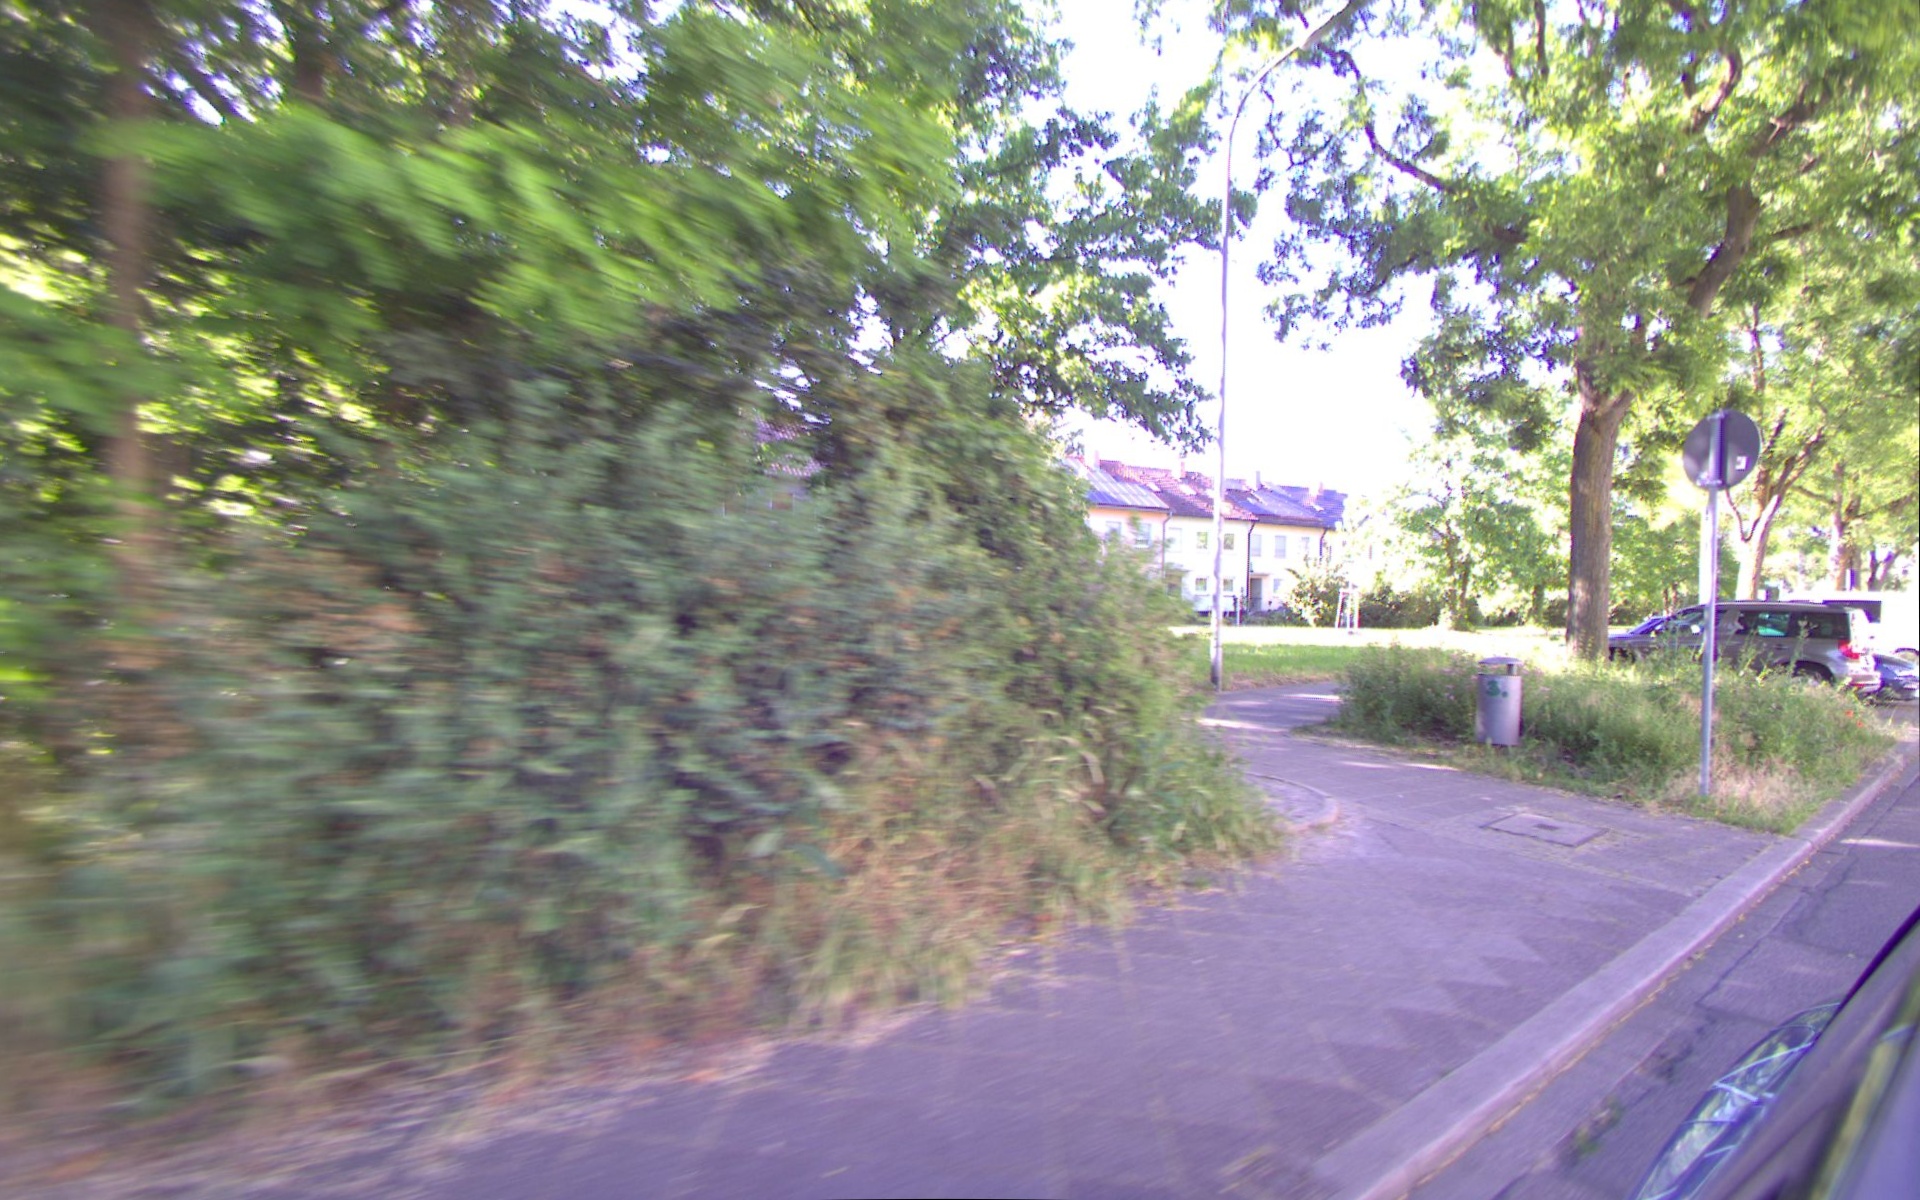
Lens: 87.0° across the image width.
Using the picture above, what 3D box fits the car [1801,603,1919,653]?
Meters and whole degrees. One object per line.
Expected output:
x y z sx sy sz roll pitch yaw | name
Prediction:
30.799 0.921 33.410 1.717 1.490 4.483 1 1 -44 | car

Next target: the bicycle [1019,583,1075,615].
4.089 -0.044 47.936 0.810 1.462 2.915 1 0 -41 | bicycle

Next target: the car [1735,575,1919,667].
22.082 0.483 24.880 1.986 2.041 4.460 1 2 -41 | car

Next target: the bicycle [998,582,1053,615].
3.057 -0.063 47.716 0.810 1.493 2.915 1 0 -41 | bicycle

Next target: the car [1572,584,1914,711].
12.738 0.660 16.695 1.743 1.716 4.158 1 2 -40 | car

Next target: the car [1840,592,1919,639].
37.879 0.639 40.389 1.716 1.786 4.045 1 1 -44 | car

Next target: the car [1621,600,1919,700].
14.752 0.818 18.233 1.745 1.431 4.458 1 2 -42 | car
